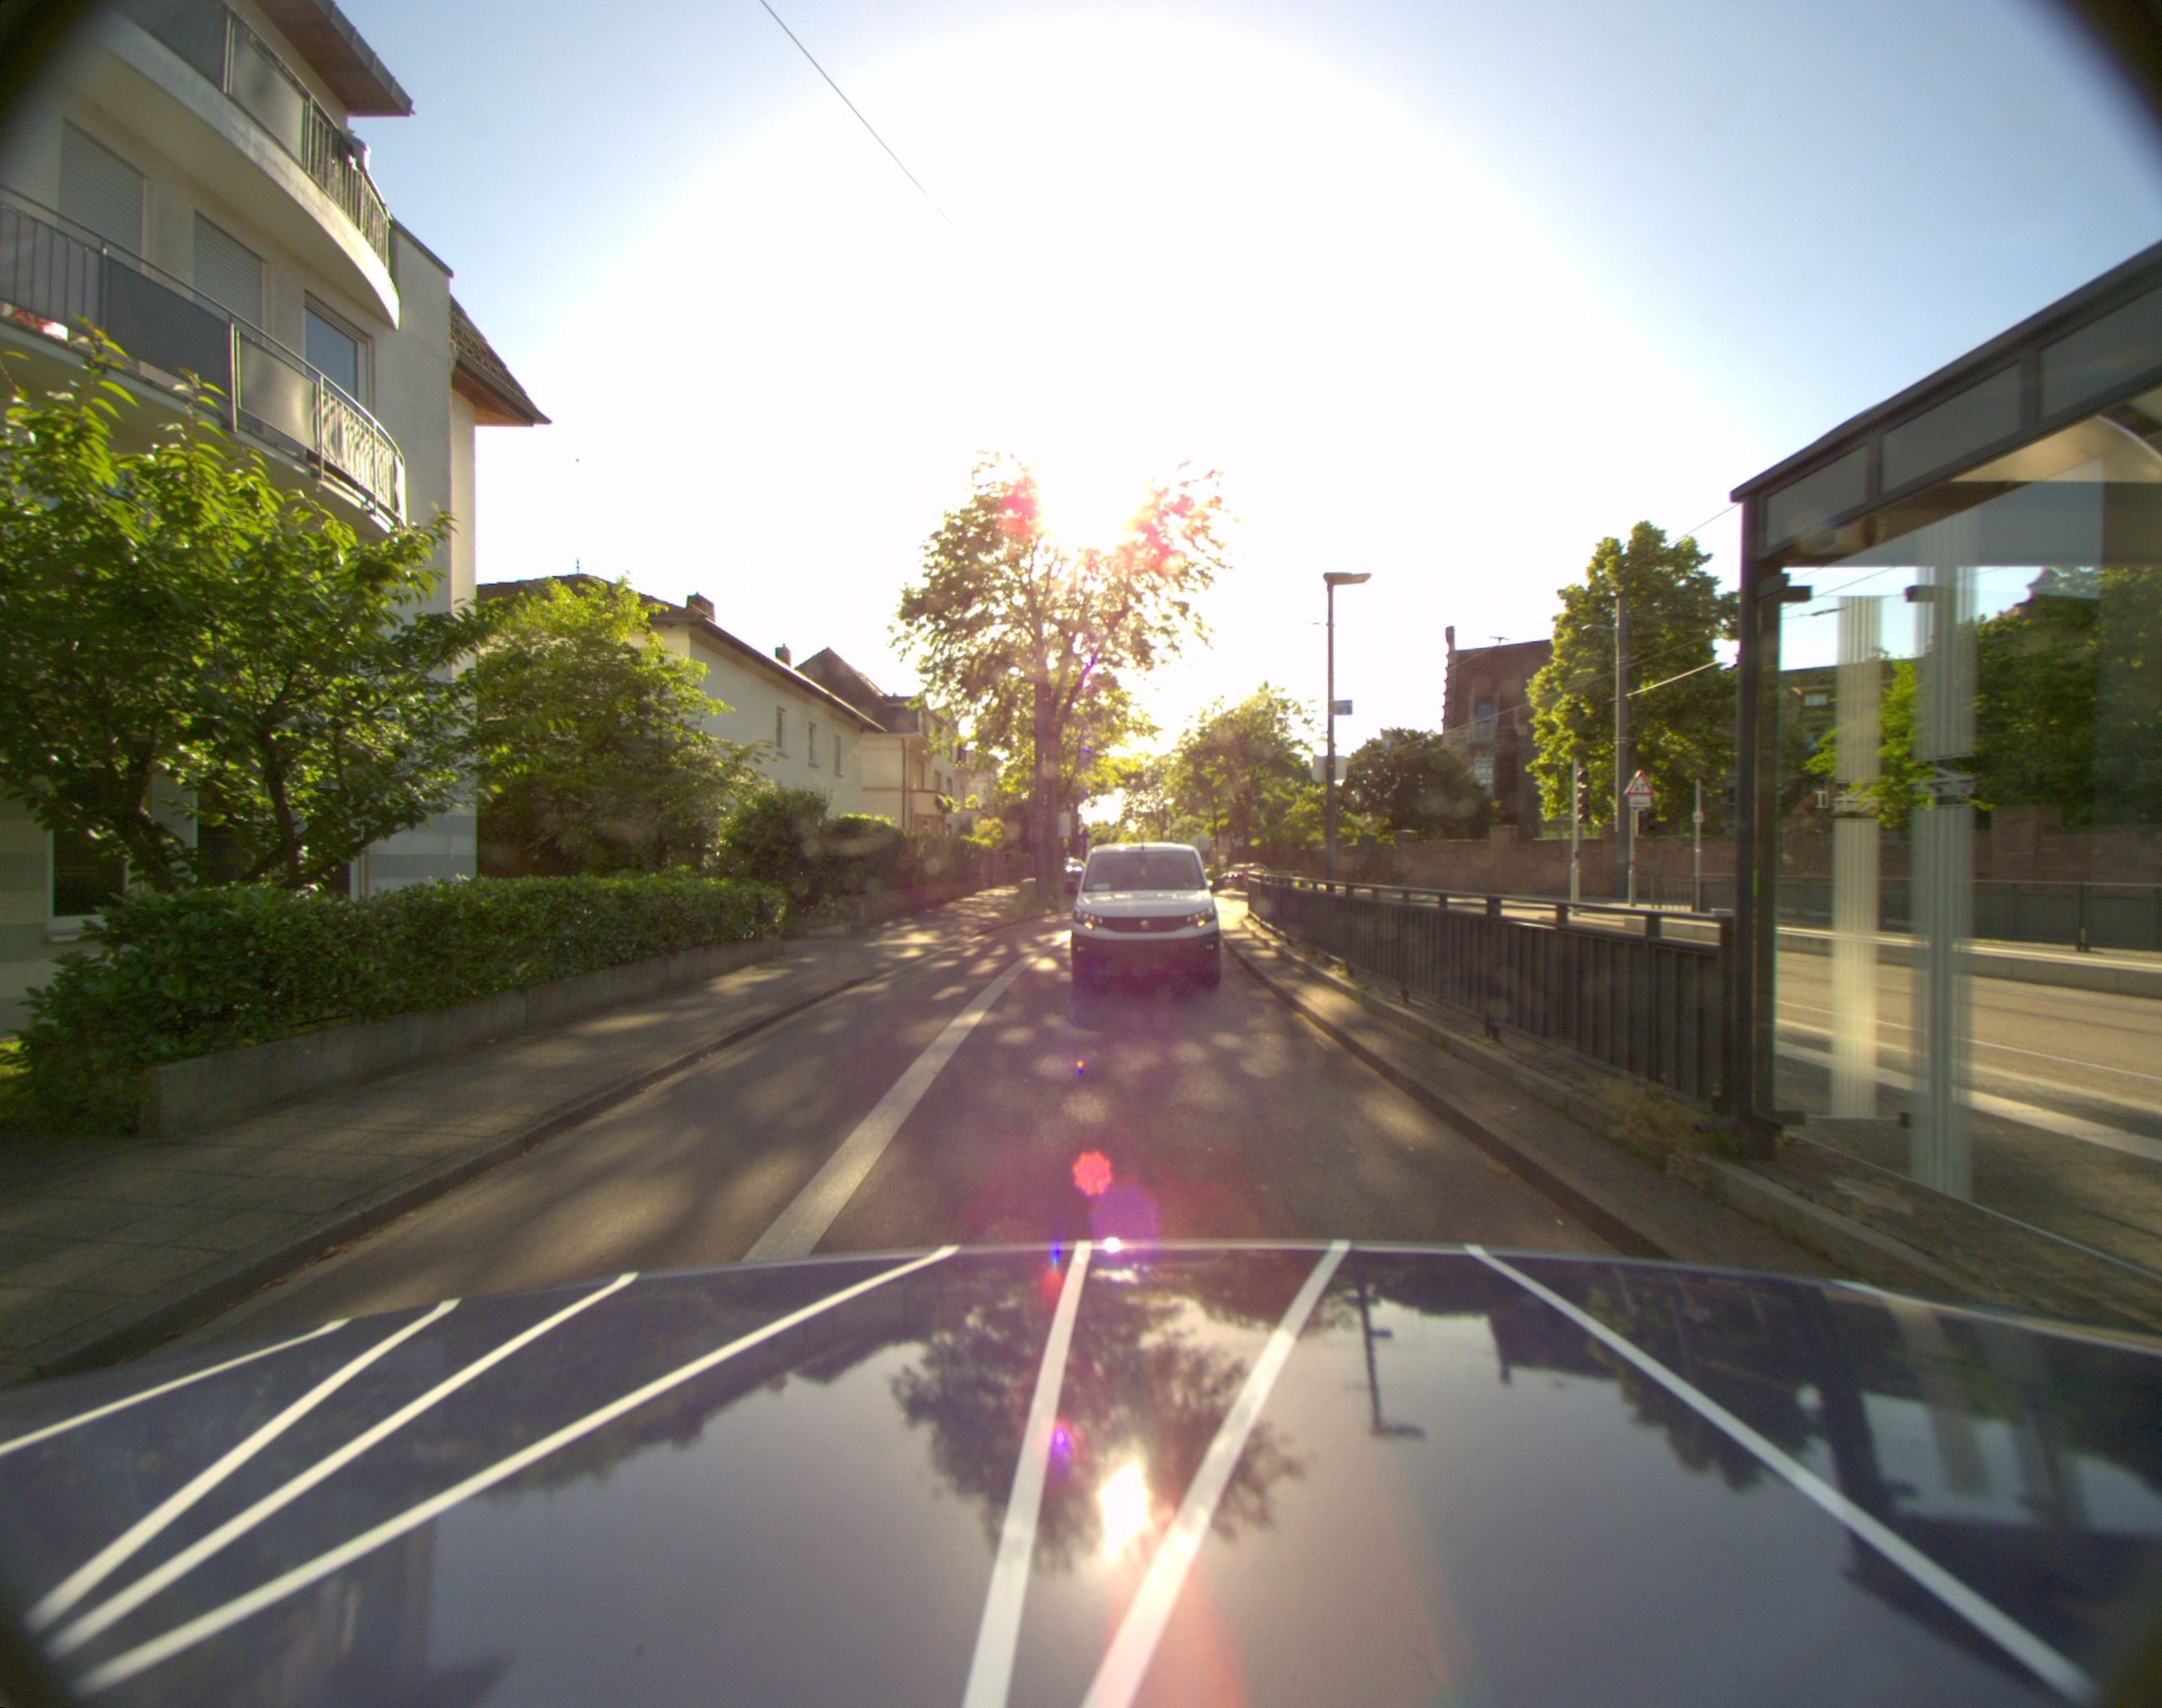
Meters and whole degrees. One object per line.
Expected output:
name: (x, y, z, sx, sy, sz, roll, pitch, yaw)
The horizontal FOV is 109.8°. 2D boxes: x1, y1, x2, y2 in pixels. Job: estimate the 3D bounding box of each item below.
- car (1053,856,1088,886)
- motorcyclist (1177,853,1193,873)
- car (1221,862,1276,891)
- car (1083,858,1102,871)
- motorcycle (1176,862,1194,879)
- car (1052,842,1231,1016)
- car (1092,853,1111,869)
car: (-0.599, 1.028, 47.789, 1.998, 1.733, 4.171, 0, 0, 1)
motorcyclist: (7.827, 0.677, 57.306, 1.127, 1.516, 1.055, 0, 1, 4)
car: (8.945, 1.161, 40.987, 1.860, 1.395, 3.981, 1, 1, -3)
car: (1.284, 1.108, 81.924, 1.719, 1.332, 3.919, 0, 0, 6)
motorcycle: (7.842, 1.236, 57.389, 1.132, 1.236, 2.574, 0, 0, 4)
car: (0.770, 0.785, 10.186, 1.831, 1.788, 4.335, -2, 0, 3)
car: (2.413, 0.812, 88.244, 1.903, 1.818, 4.250, 0, 0, 6)
